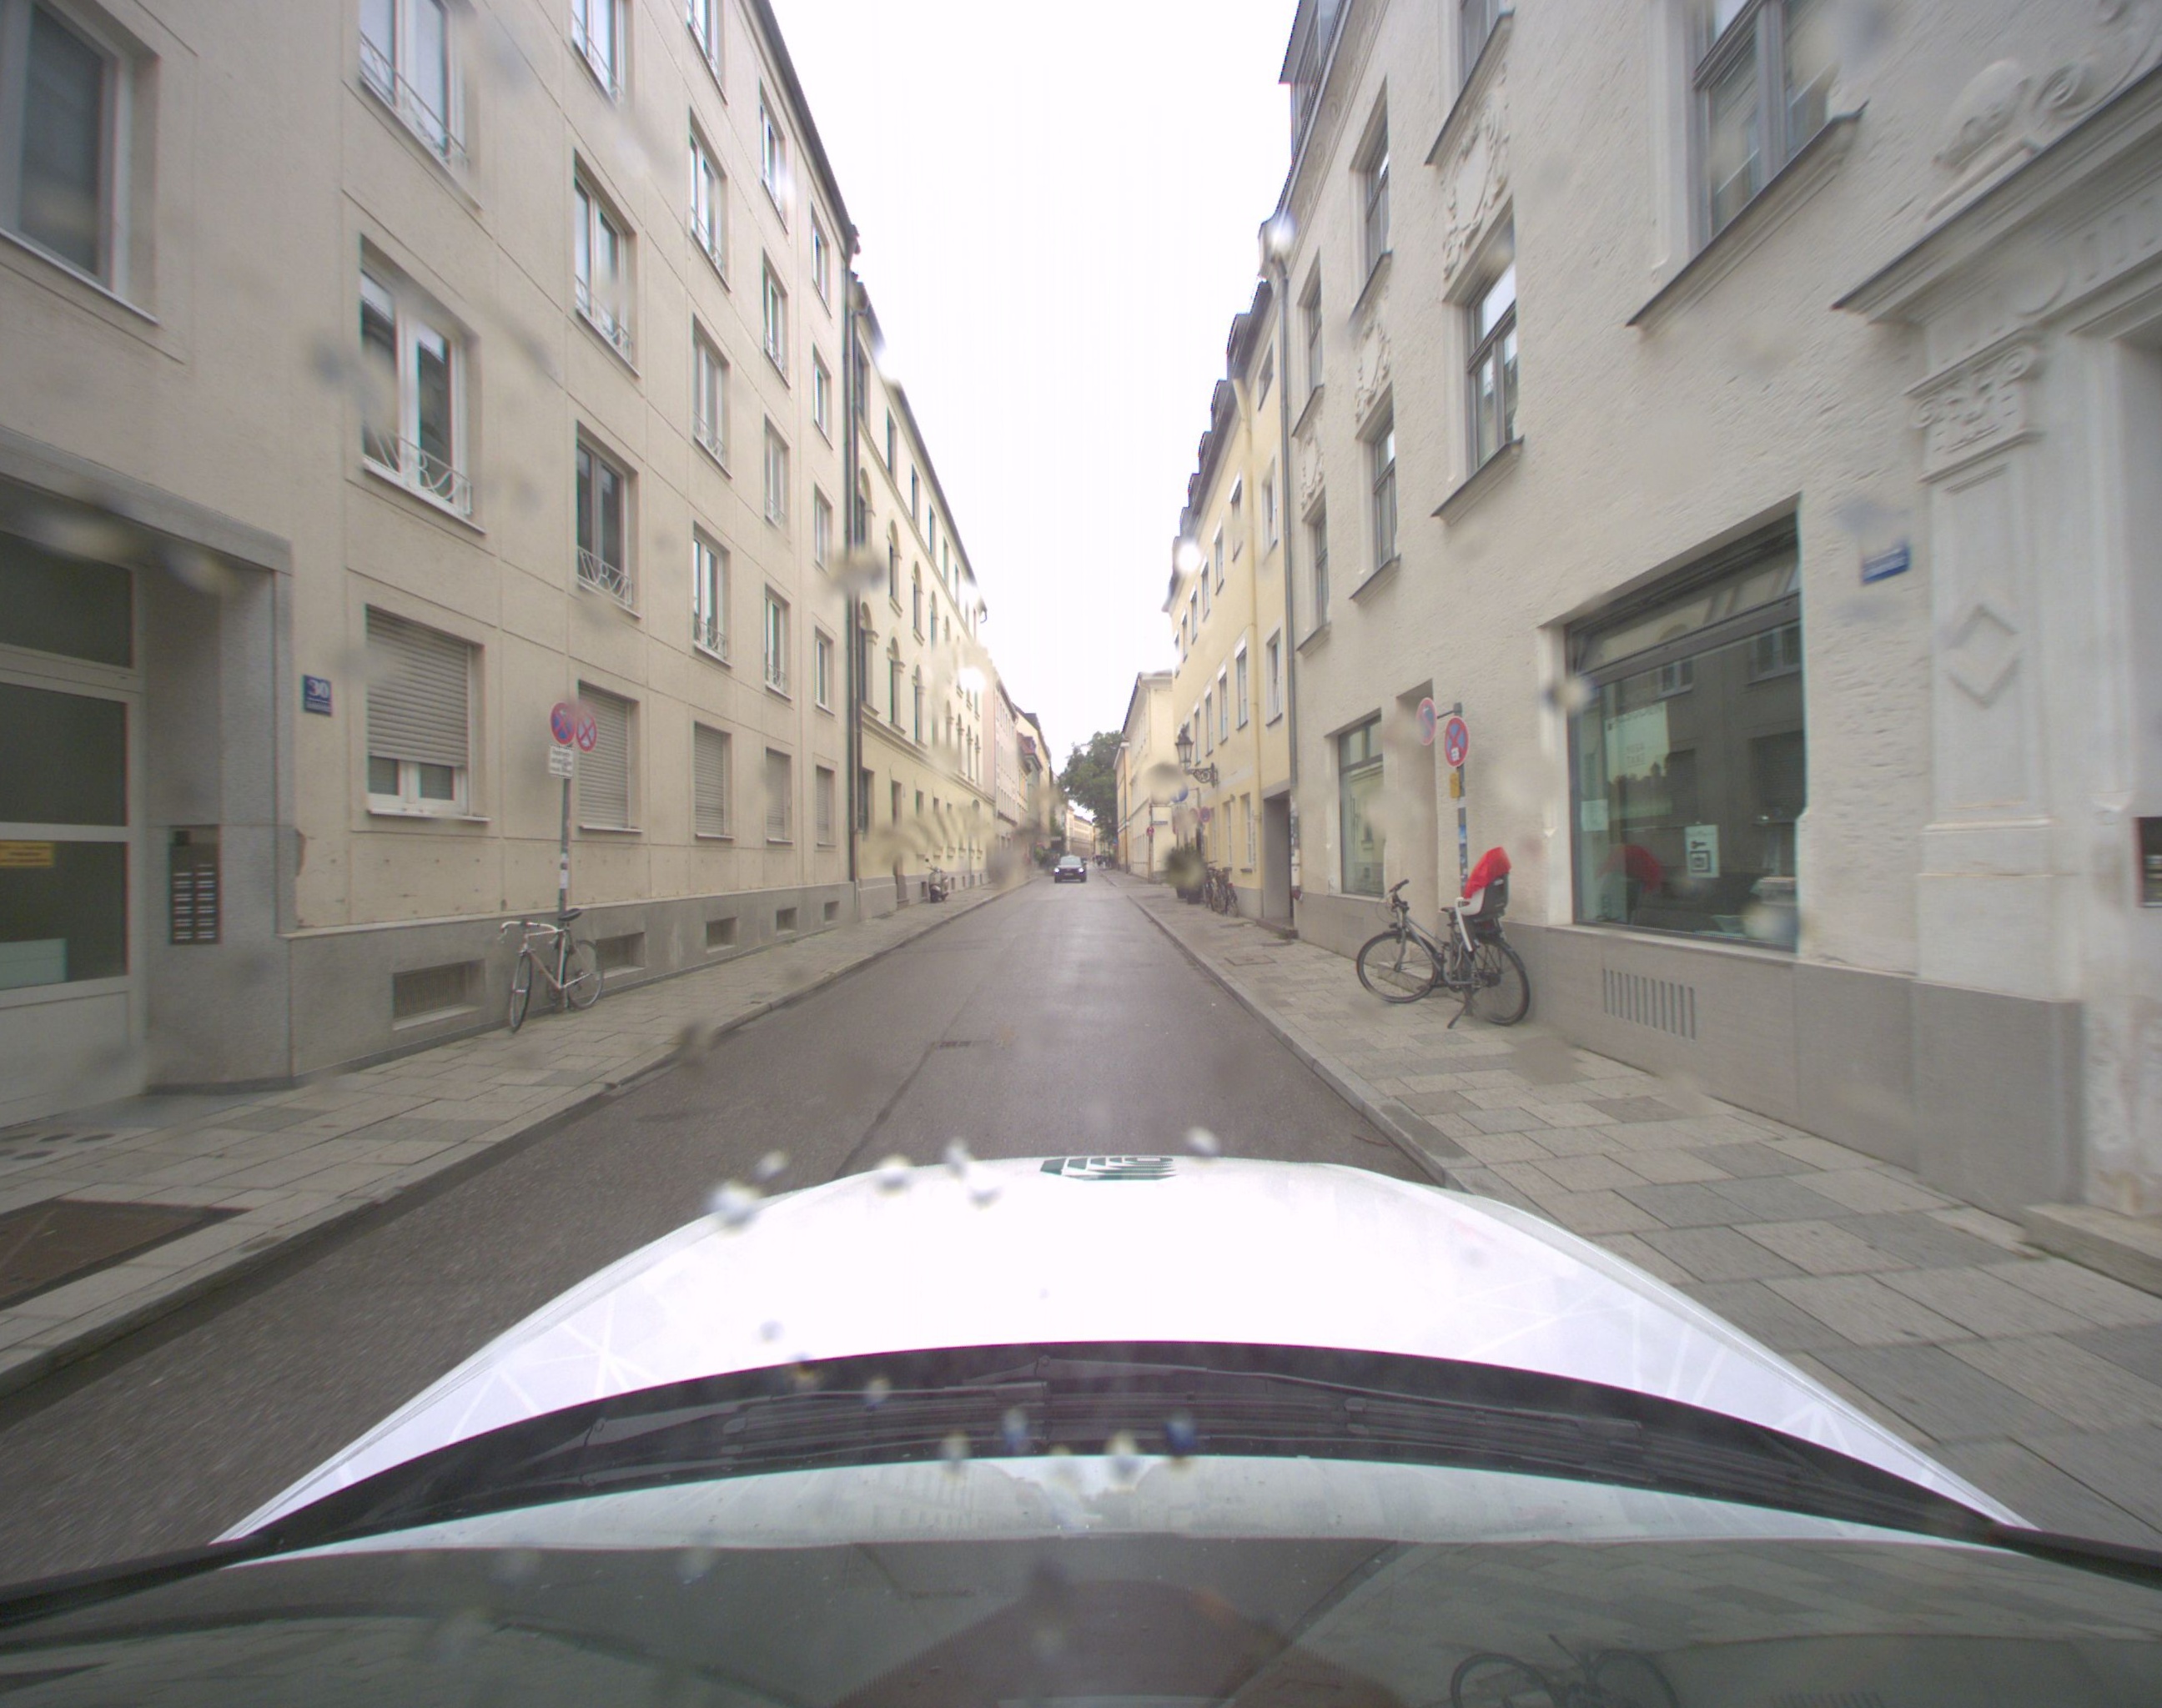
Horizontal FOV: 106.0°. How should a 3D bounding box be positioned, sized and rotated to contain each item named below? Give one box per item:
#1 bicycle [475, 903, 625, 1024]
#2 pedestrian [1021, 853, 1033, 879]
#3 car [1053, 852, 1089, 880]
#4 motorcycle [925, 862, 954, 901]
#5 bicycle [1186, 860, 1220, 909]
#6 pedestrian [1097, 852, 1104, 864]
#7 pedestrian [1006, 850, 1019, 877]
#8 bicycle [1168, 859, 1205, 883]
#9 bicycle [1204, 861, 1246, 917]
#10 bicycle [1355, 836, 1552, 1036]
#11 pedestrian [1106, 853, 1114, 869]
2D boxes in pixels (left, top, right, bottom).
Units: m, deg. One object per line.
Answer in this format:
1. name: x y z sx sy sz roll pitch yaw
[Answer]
1. bicycle: -5.012 0.990 7.800 0.318 0.944 1.575 2 0 2
2. pedestrian: -3.605 0.794 54.777 0.764 1.708 0.785 -1 0 -2
3. car: -0.582 0.709 49.010 1.804 1.594 4.005 -1 0 4
4. motorcycle: -4.522 0.868 26.142 0.600 1.174 1.709 0 0 1
5. bicycle: 3.007 0.732 20.213 0.563 1.137 1.684 -3 0 1
6. pedestrian: 3.016 0.638 126.077 1.012 1.802 1.349 0 0 1
7. pedestrian: -4.429 0.597 52.724 0.807 1.755 0.989 0 1 -2
8. bicycle: 5.166 0.829 39.933 1.751 1.144 0.586 -1 2 0
9. bicycle: 3.159 0.739 17.994 0.563 1.137 1.988 -3 0 1
10. bicycle: 3.031 0.590 6.909 0.710 1.396 2.123 -3 0 3
11. pedestrian: 3.209 0.760 90.004 0.877 1.802 1.046 0 0 1
